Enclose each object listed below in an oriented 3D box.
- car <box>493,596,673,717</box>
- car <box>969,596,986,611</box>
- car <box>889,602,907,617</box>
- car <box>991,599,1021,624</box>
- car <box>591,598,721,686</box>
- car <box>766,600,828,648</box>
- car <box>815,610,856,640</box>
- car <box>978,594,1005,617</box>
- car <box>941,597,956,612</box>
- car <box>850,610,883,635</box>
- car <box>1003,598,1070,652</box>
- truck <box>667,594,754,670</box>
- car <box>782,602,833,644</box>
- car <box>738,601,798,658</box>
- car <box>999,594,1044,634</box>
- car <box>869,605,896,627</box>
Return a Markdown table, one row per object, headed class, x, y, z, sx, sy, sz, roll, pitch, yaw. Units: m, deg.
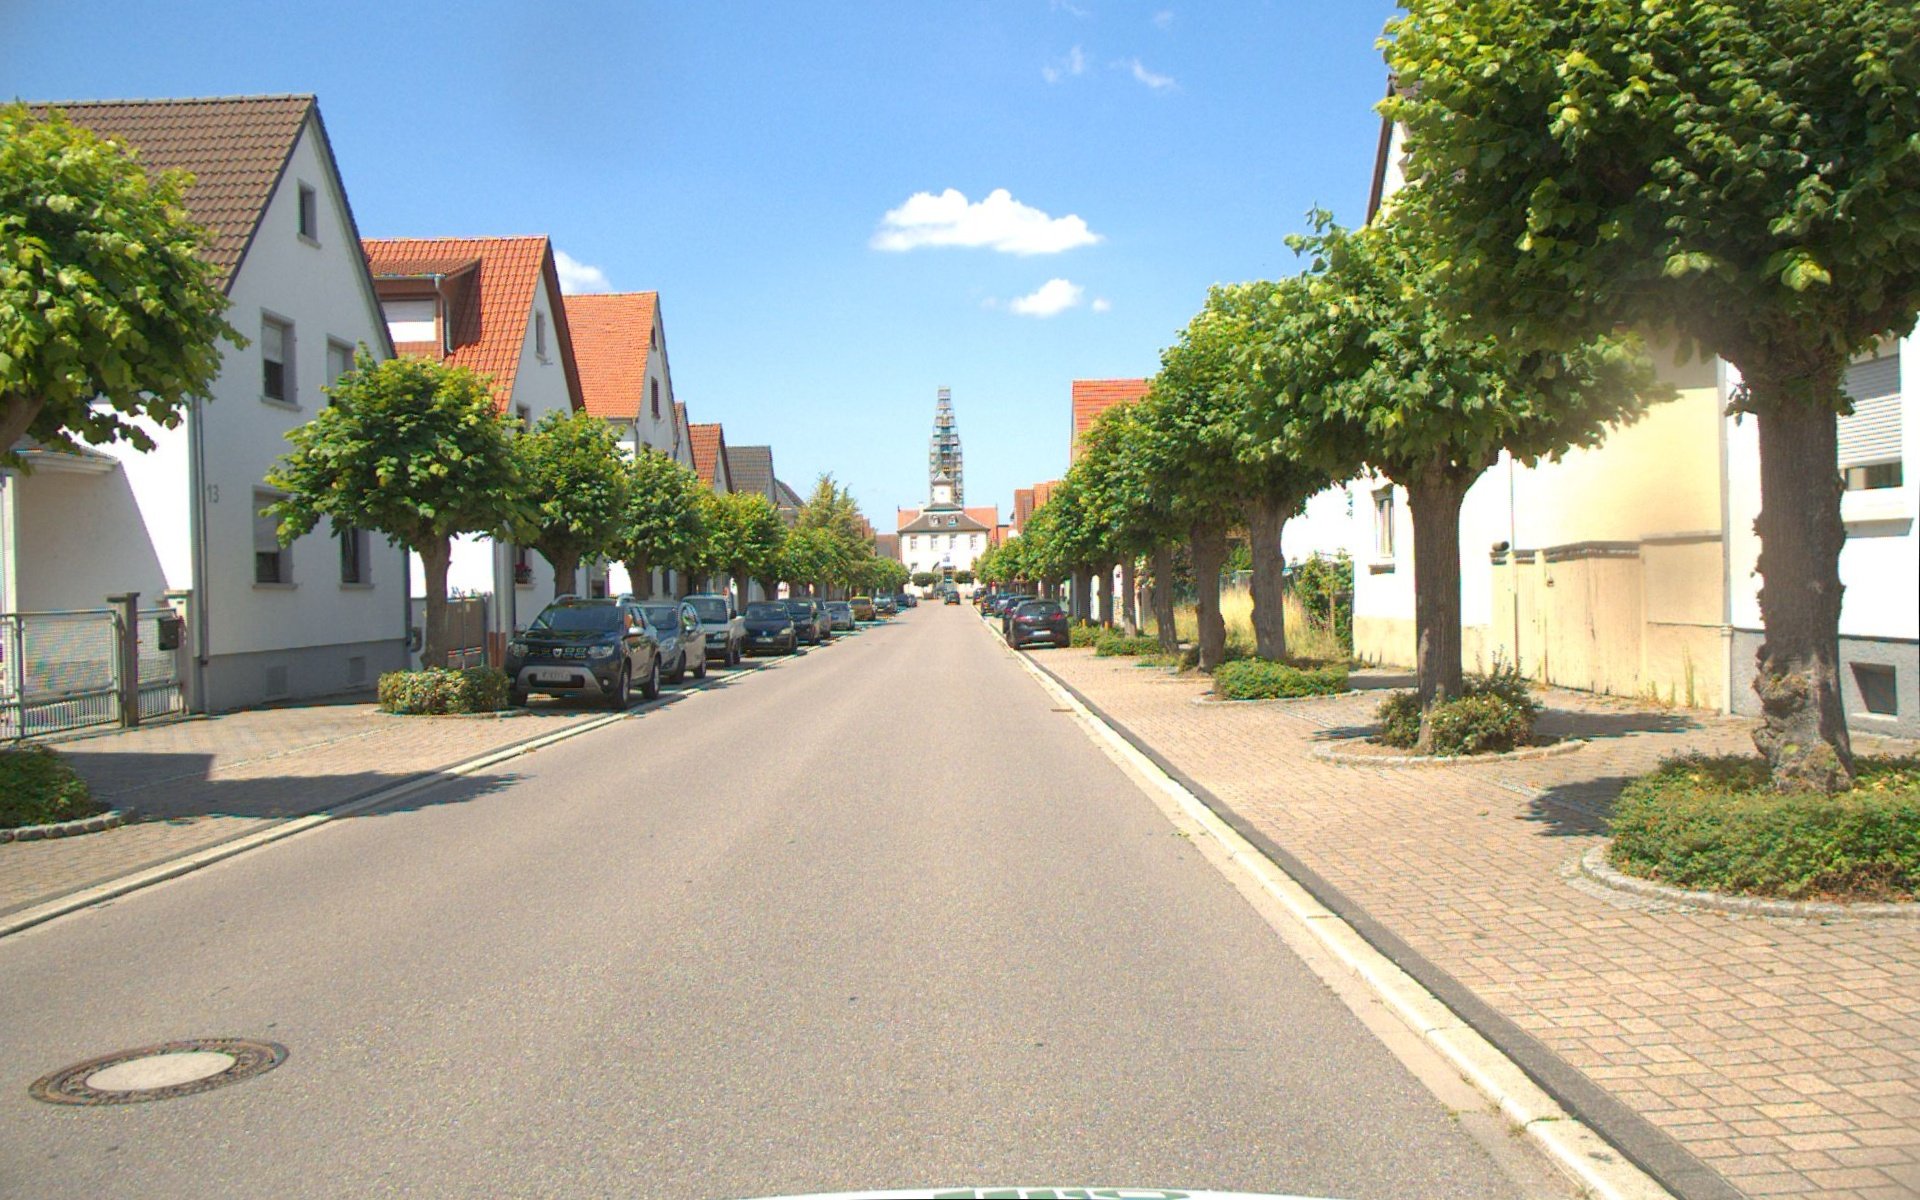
| class | x | y | z | sx | sy | sz | roll | pitch | yaw |
| --- | --- | --- | --- | --- | --- | --- | --- | --- | --- |
| car | -5.778 | 0.803 | 25.851 | 1.815 | 1.665 | 4.299 | 1 | 1 | 0 |
| car | 1.946 | 0.389 | 183.154 | 1.800 | 1.582 | 4.313 | -3 | 0 | 0 |
| car | -6.602 | 1.035 | 177.417 | 1.721 | 1.582 | 4.020 | -1 | 0 | 0 |
| car | 3.090 | 0.777 | 112.686 | 1.800 | 1.636 | 3.999 | -1 | 0 | -2 |
| car | -6.106 | 0.819 | 33.694 | 1.815 | 1.641 | 4.370 | 1 | -1 | 0 |
| car | -5.814 | 0.844 | 59.242 | 1.815 | 1.664 | 4.056 | 1 | -1 | 0 |
| car | -6.199 | 1.217 | 82.699 | 1.803 | 1.420 | 4.405 | 0 | 0 | -1 |
| car | 2.284 | 0.386 | 120.335 | 1.800 | 1.582 | 4.313 | -3 | 0 | -1 |
| car | -1.281 | 0.506 | 188.364 | 1.694 | 1.574 | 3.455 | 1 | -1 | 0 |
| car | -6.347 | 1.546 | 112.946 | 1.952 | 1.639 | 4.689 | 0 | 0 | 1 |
| car | 2.310 | 0.734 | 50.819 | 1.787 | 1.457 | 4.056 | -3 | 0 | 0 |
| truck | -6.255 | 0.783 | 41.838 | 1.544 | 1.796 | 4.191 | 1 | 0 | 0 |
| car | -6.265 | 0.916 | 68.443 | 1.954 | 1.681 | 4.364 | 0 | 0 | -4 |
| car | -5.806 | 0.869 | 50.295 | 1.751 | 1.662 | 3.995 | 0 | 0 | -6 |
| car | 2.706 | 0.592 | 72.191 | 1.786 | 1.613 | 4.059 | -3 | 0 | 4 |
| car | -6.276 | 1.271 | 134.492 | 1.952 | 1.639 | 4.689 | 0 | 1 | 1 |
